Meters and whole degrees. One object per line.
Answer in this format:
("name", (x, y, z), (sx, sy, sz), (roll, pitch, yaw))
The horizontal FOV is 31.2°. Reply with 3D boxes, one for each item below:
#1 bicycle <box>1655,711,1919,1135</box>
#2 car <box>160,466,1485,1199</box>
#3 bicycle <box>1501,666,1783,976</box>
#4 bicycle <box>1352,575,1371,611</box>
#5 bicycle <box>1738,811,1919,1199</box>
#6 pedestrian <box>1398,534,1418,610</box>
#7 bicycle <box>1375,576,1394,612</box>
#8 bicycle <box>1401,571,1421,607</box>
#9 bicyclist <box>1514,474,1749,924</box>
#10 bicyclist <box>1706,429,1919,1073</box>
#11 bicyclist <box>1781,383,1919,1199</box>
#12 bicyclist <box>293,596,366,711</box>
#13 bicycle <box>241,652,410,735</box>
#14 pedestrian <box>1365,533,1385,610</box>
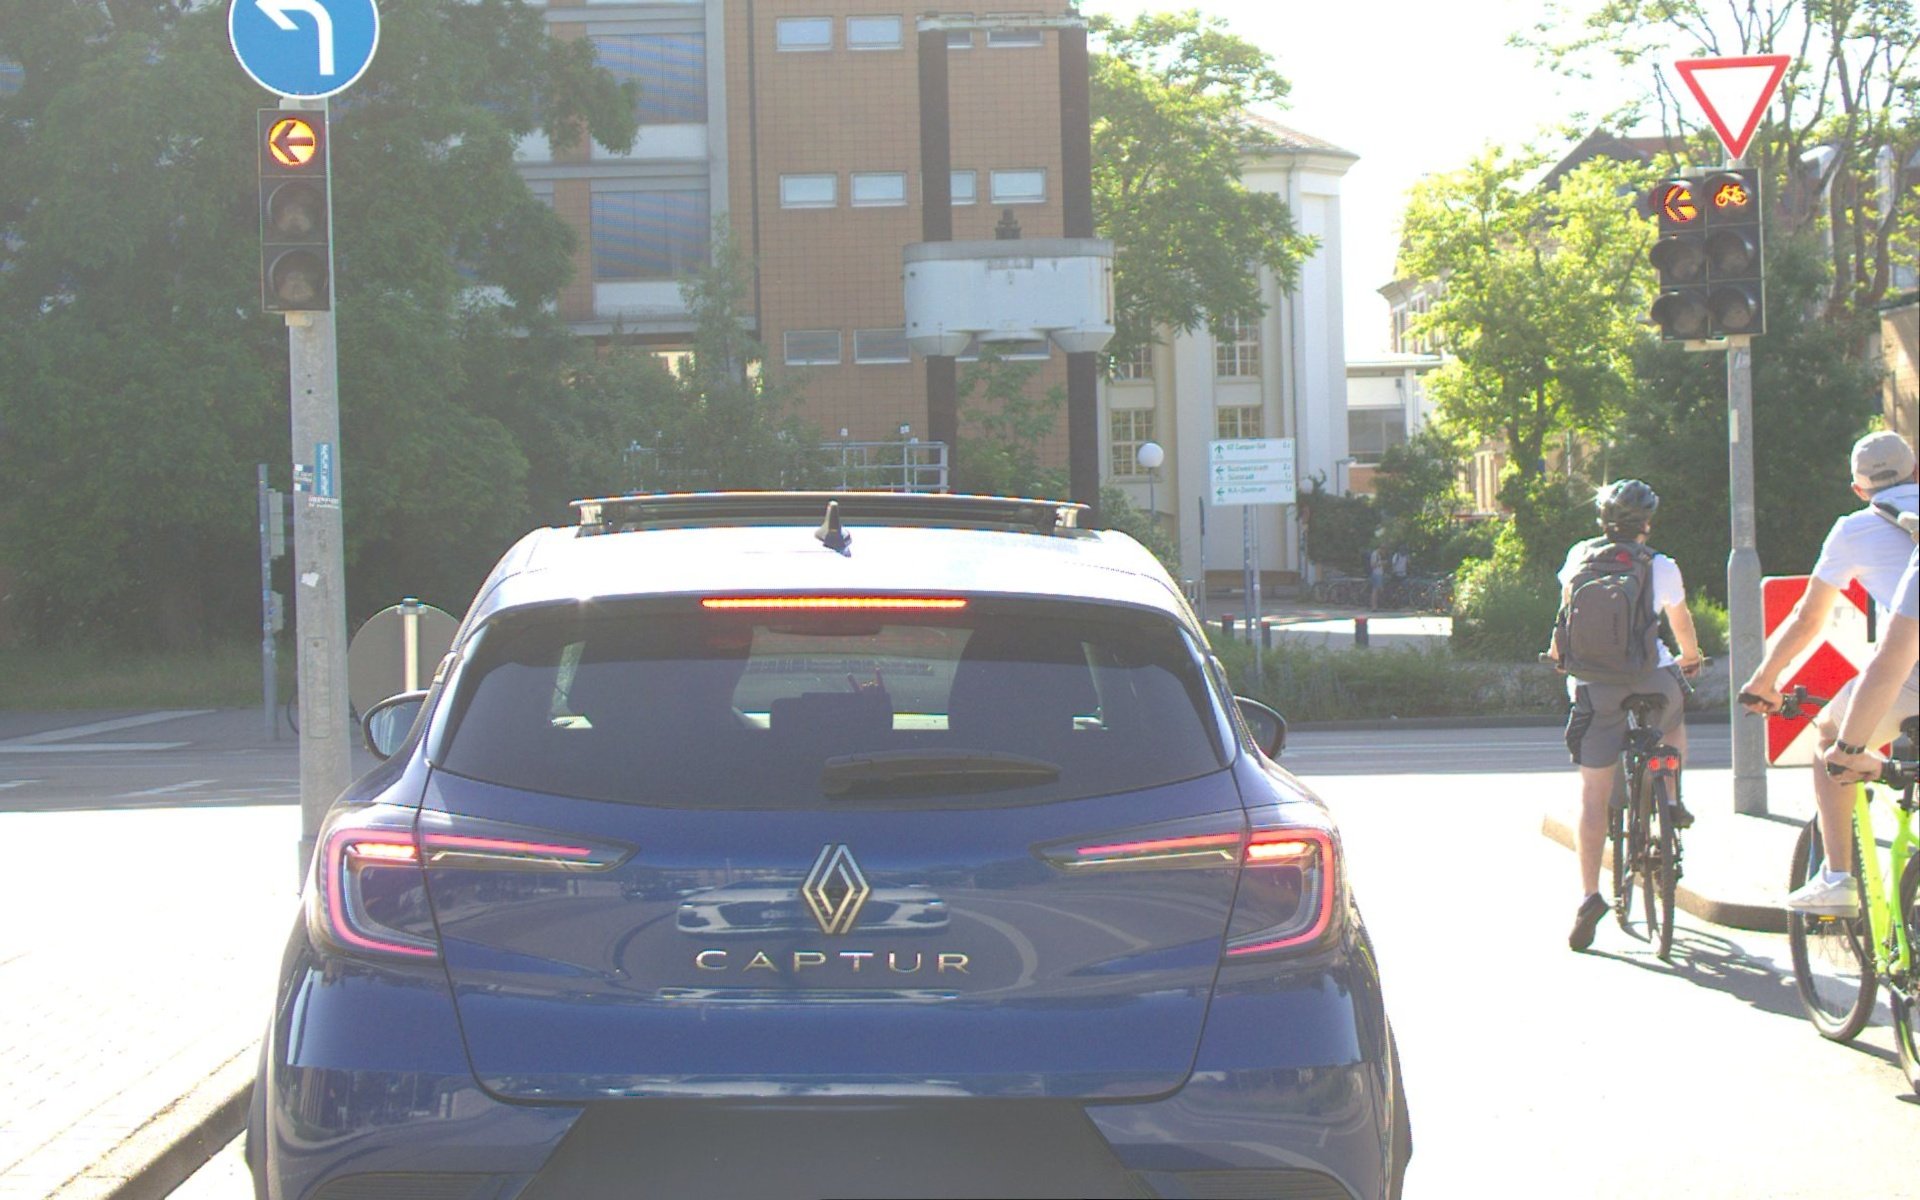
("bicycle", (2.616, 0.864, 9.825), (0.659, 0.999, 1.970), (1, 1, -6))
("car", (-0.264, 0.612, 6.700), (1.803, 1.626, 4.000), (0, 1, -2))
("bicycle", (2.514, 0.780, 12.905), (0.739, 0.992, 2.173), (1, 1, 3))
("bicycle", (10.994, -0.184, 94.084), (0.405, 0.969, 1.683), (1, 1, 4))
("bicycle", (2.231, 0.967, 7.261), (0.740, 0.893, 1.978), (1, 1, 1))
("pedestrian", (12.041, -0.756, 92.398), (0.475, 2.007, 0.468), (-1, 1, 6))
("bicycle", (11.617, -0.174, 94.041), (0.405, 0.969, 1.683), (1, 1, 4))
("bicycle", (12.385, -0.311, 94.407), (0.405, 0.969, 1.683), (1, 1, 4))
("bicyclist", (2.512, 0.353, 12.950), (0.726, 1.623, 0.969), (1, 0, 4))
("bicyclist", (2.626, 0.405, 9.814), (0.645, 1.733, 1.067), (1, 0, -6))
("bicyclist", (2.236, 0.406, 7.249), (0.751, 1.663, 1.016), (1, 0, 1))
("bicyclist", (-8.030, 0.671, 43.791), (0.737, 1.436, 0.598), (-2, 1, -27))
("bicycle", (-8.077, 1.185, 43.773), (2.005, 0.961, 0.598), (-2, 1, -27))
("pedestrian", (10.984, -0.757, 91.047), (0.475, 2.007, 0.523), (-1, 1, 6))
